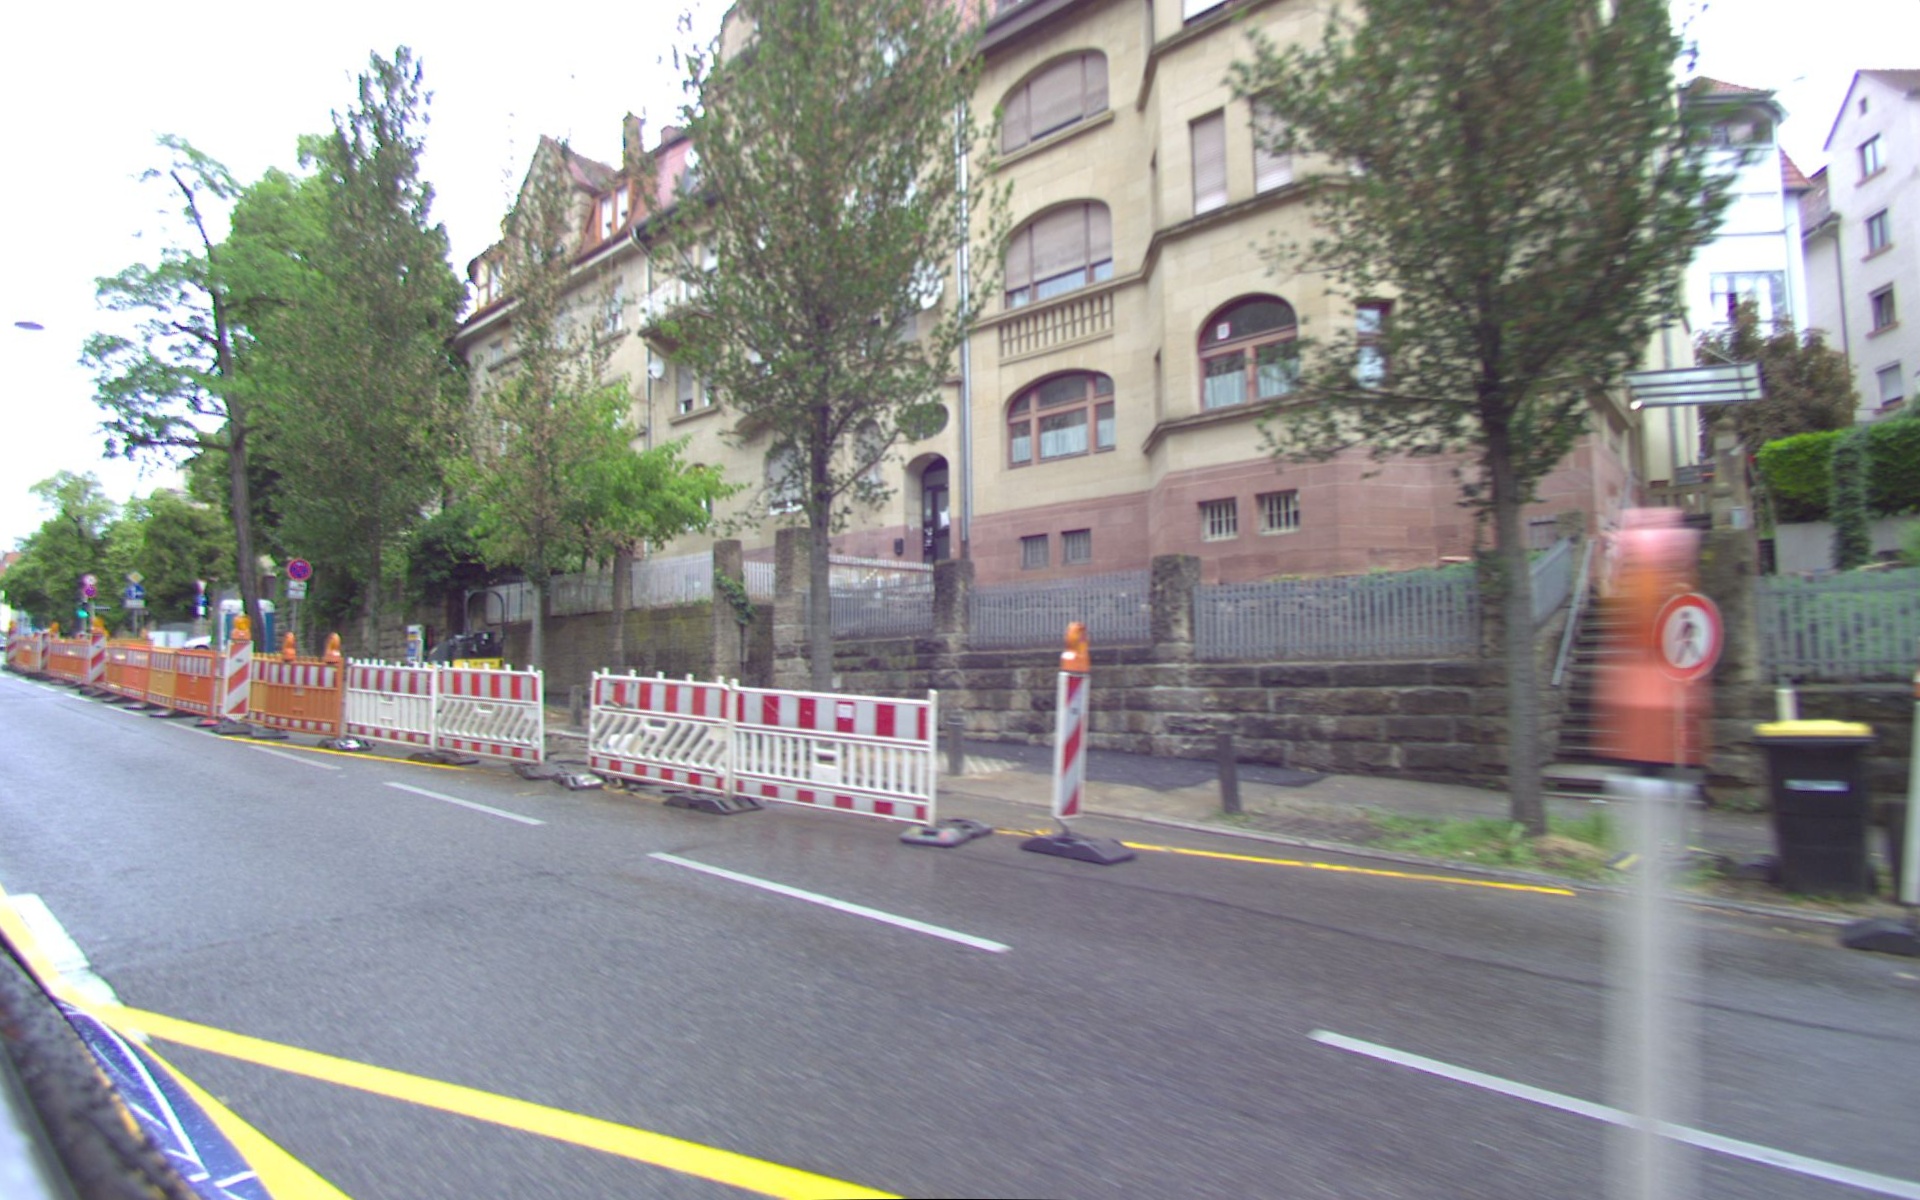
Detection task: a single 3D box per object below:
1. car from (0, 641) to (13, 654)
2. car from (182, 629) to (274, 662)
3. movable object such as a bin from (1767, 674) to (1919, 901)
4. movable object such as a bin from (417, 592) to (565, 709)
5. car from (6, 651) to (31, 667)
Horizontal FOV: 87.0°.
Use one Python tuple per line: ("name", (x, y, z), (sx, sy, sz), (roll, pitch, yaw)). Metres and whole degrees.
("car", (-115.377, 5.708, 121.835), (1.749, 1.529, 4.106), (3, -4, -39))
("car", (-38.450, 2.355, 53.220), (3.812, 1.419, 1.830), (-2, 1, -37))
("movable object such as a bin", (5.586, 1.105, 6.256), (0.856, 1.223, 0.934), (-2, -2, 42))
("movable object such as a bin", (-10.054, 1.078, 21.669), (2.816, 2.317, 1.971), (-2, -4, 45))
("car", (-111.795, 6.998, 120.234), (1.792, 1.529, 4.556), (4, -9, -39))
